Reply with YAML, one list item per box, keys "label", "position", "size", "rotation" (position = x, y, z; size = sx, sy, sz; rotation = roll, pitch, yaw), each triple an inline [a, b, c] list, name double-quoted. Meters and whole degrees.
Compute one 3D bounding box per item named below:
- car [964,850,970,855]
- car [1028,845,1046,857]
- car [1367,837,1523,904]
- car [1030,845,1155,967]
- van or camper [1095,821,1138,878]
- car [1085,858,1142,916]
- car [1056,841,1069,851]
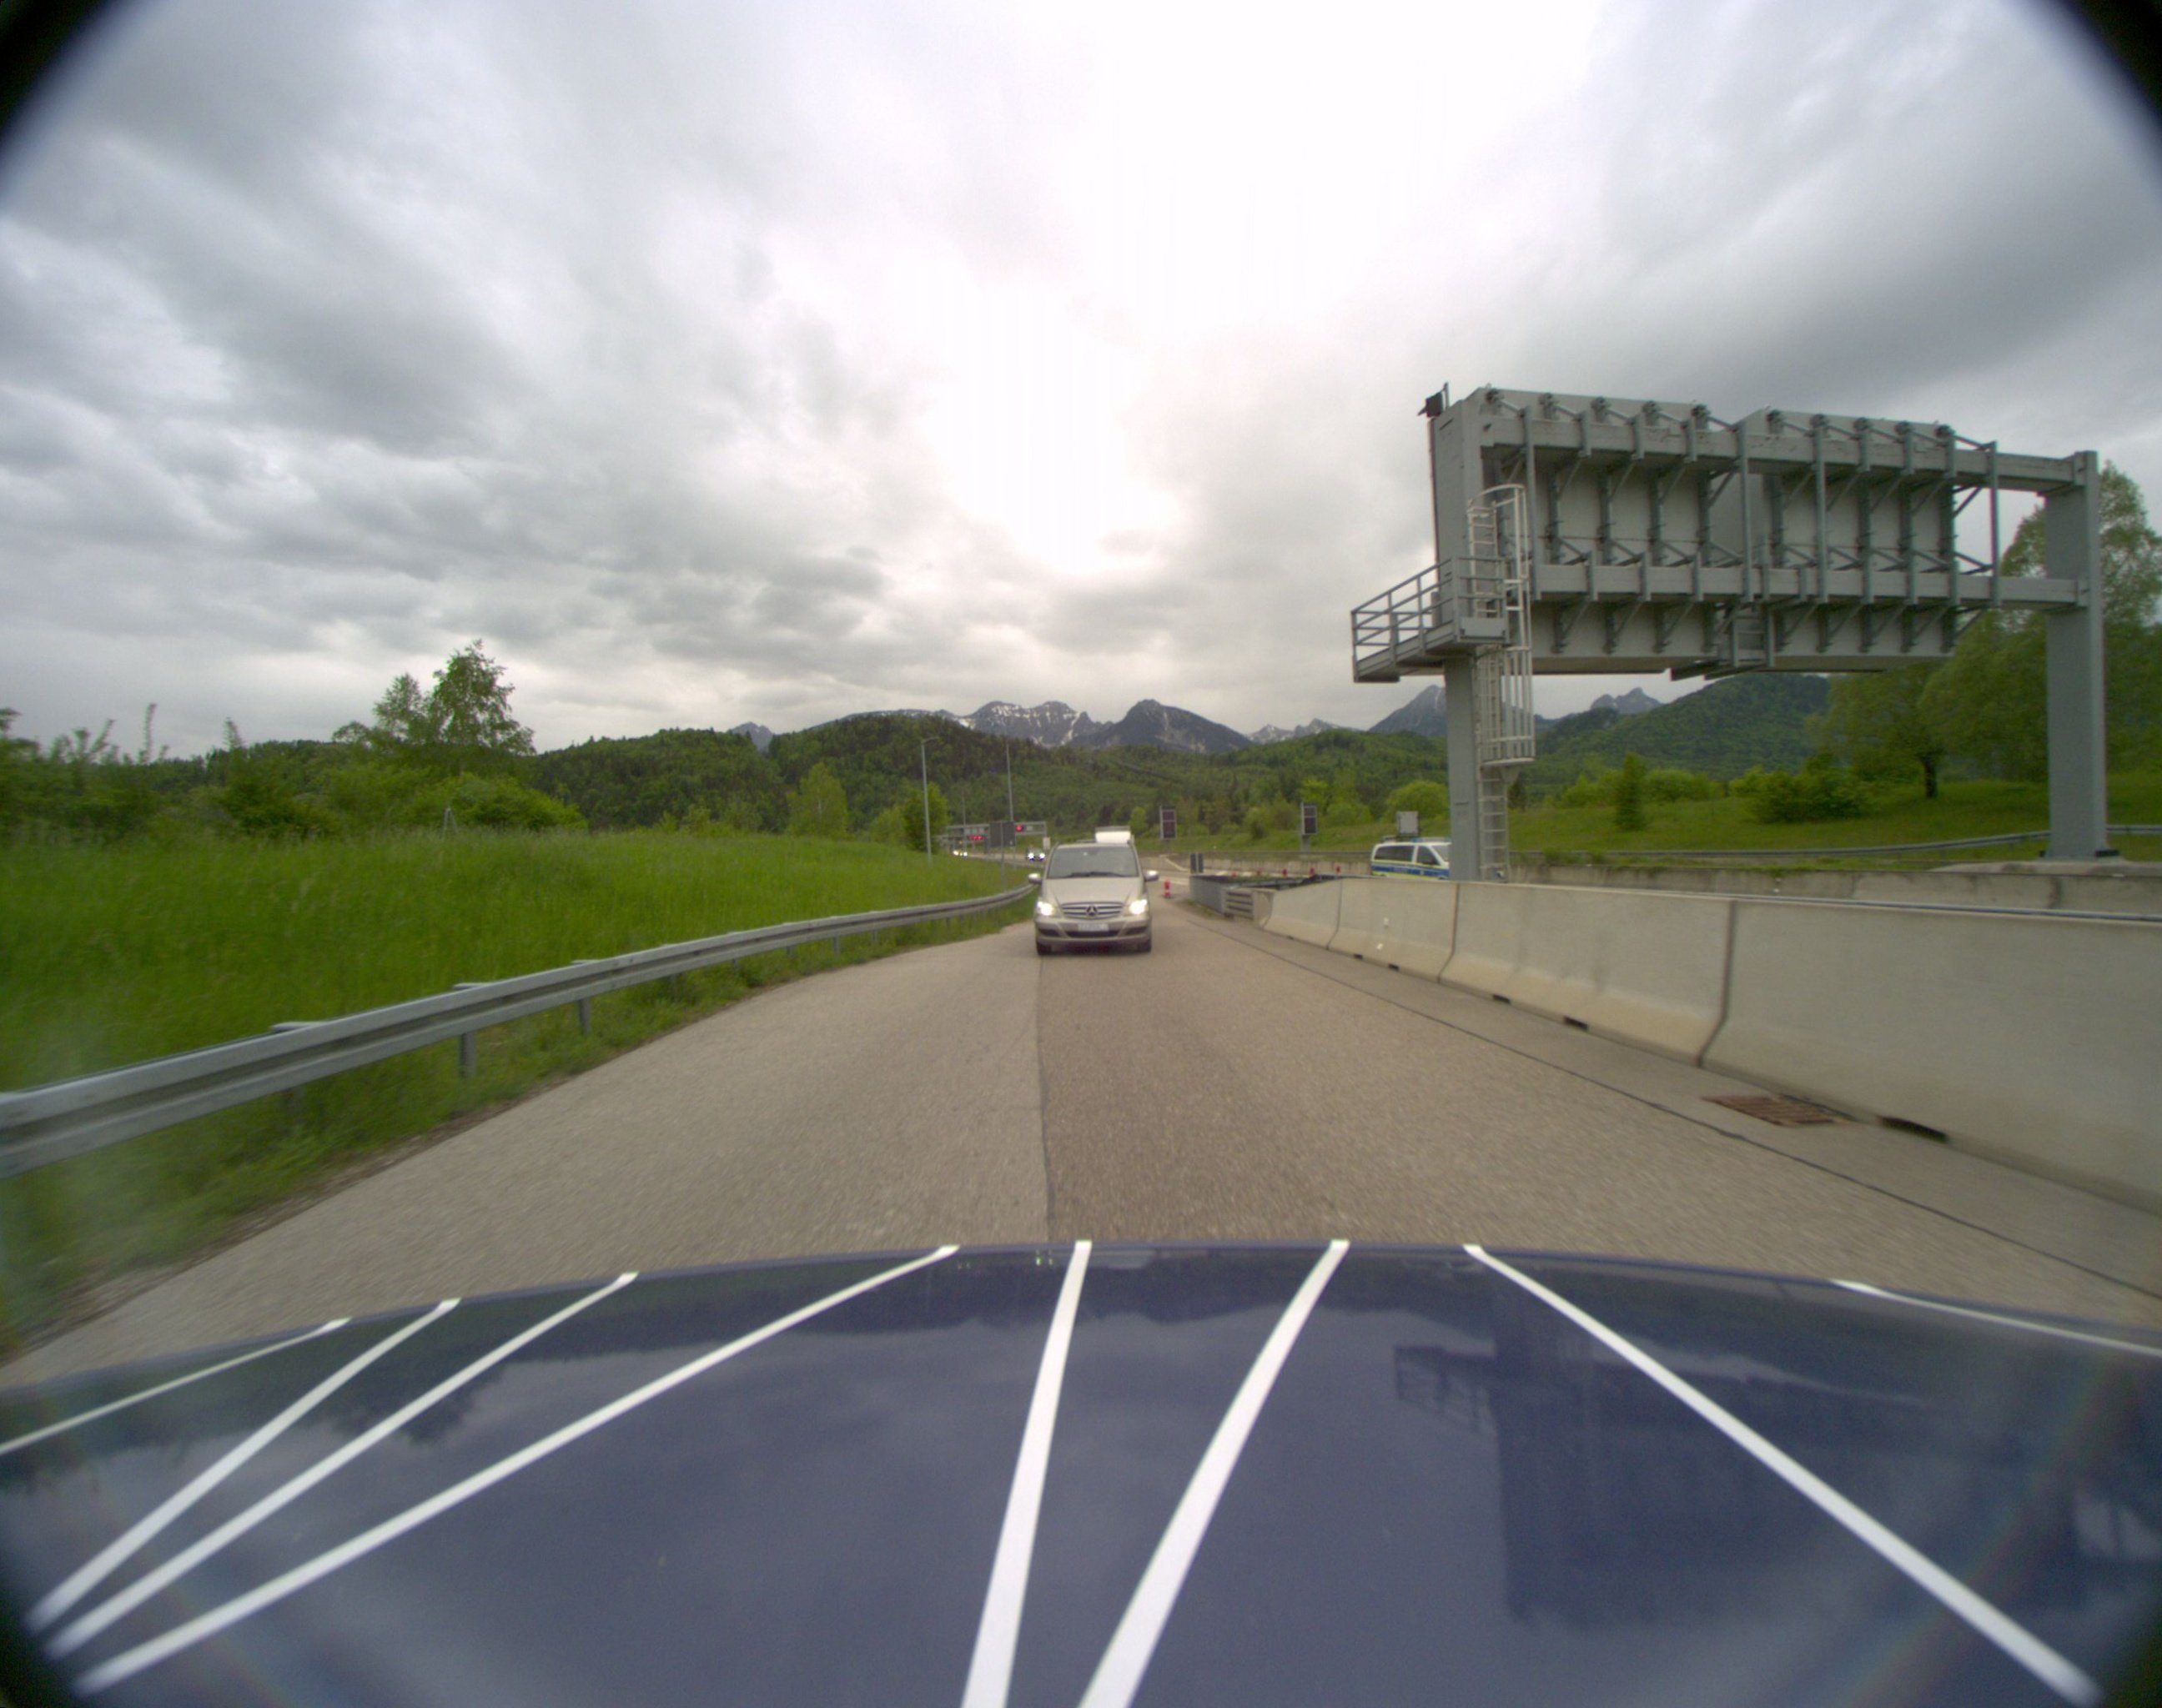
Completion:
- label: "car"
  position: [-37.260, -0.364, 247.456]
  size: [1.738, 1.646, 3.996]
  rotation: [-1, 0, -11]
- label: "car"
  position: [-6.191, -0.401, 106.516]
  size: [1.722, 1.629, 4.343]
  rotation: [-1, 1, -13]
- label: "car"
  position: [12.018, 0.481, 25.561]
  size: [2.105, 2.002, 5.046]
  rotation: [-1, 1, -11]
- label: "car"
  position: [0.282, 0.765, 14.267]
  size: [1.862, 1.833, 5.617]
  rotation: [-1, 0, 2]
- label: "van or camper"
  position: [2.312, -0.301, 49.864]
  size: [2.582, 3.372, 7.356]
  rotation: [-1, 1, 2]
- label: "car"
  position: [1.018, 0.955, 23.750]
  size: [1.591, 1.662, 4.001]
  rotation: [-1, 0, 3]
- label: "car"
  position: [-4.015, -1.711, 163.158]
  size: [1.740, 1.935, 4.168]
  rotation: [-2, 0, -14]
